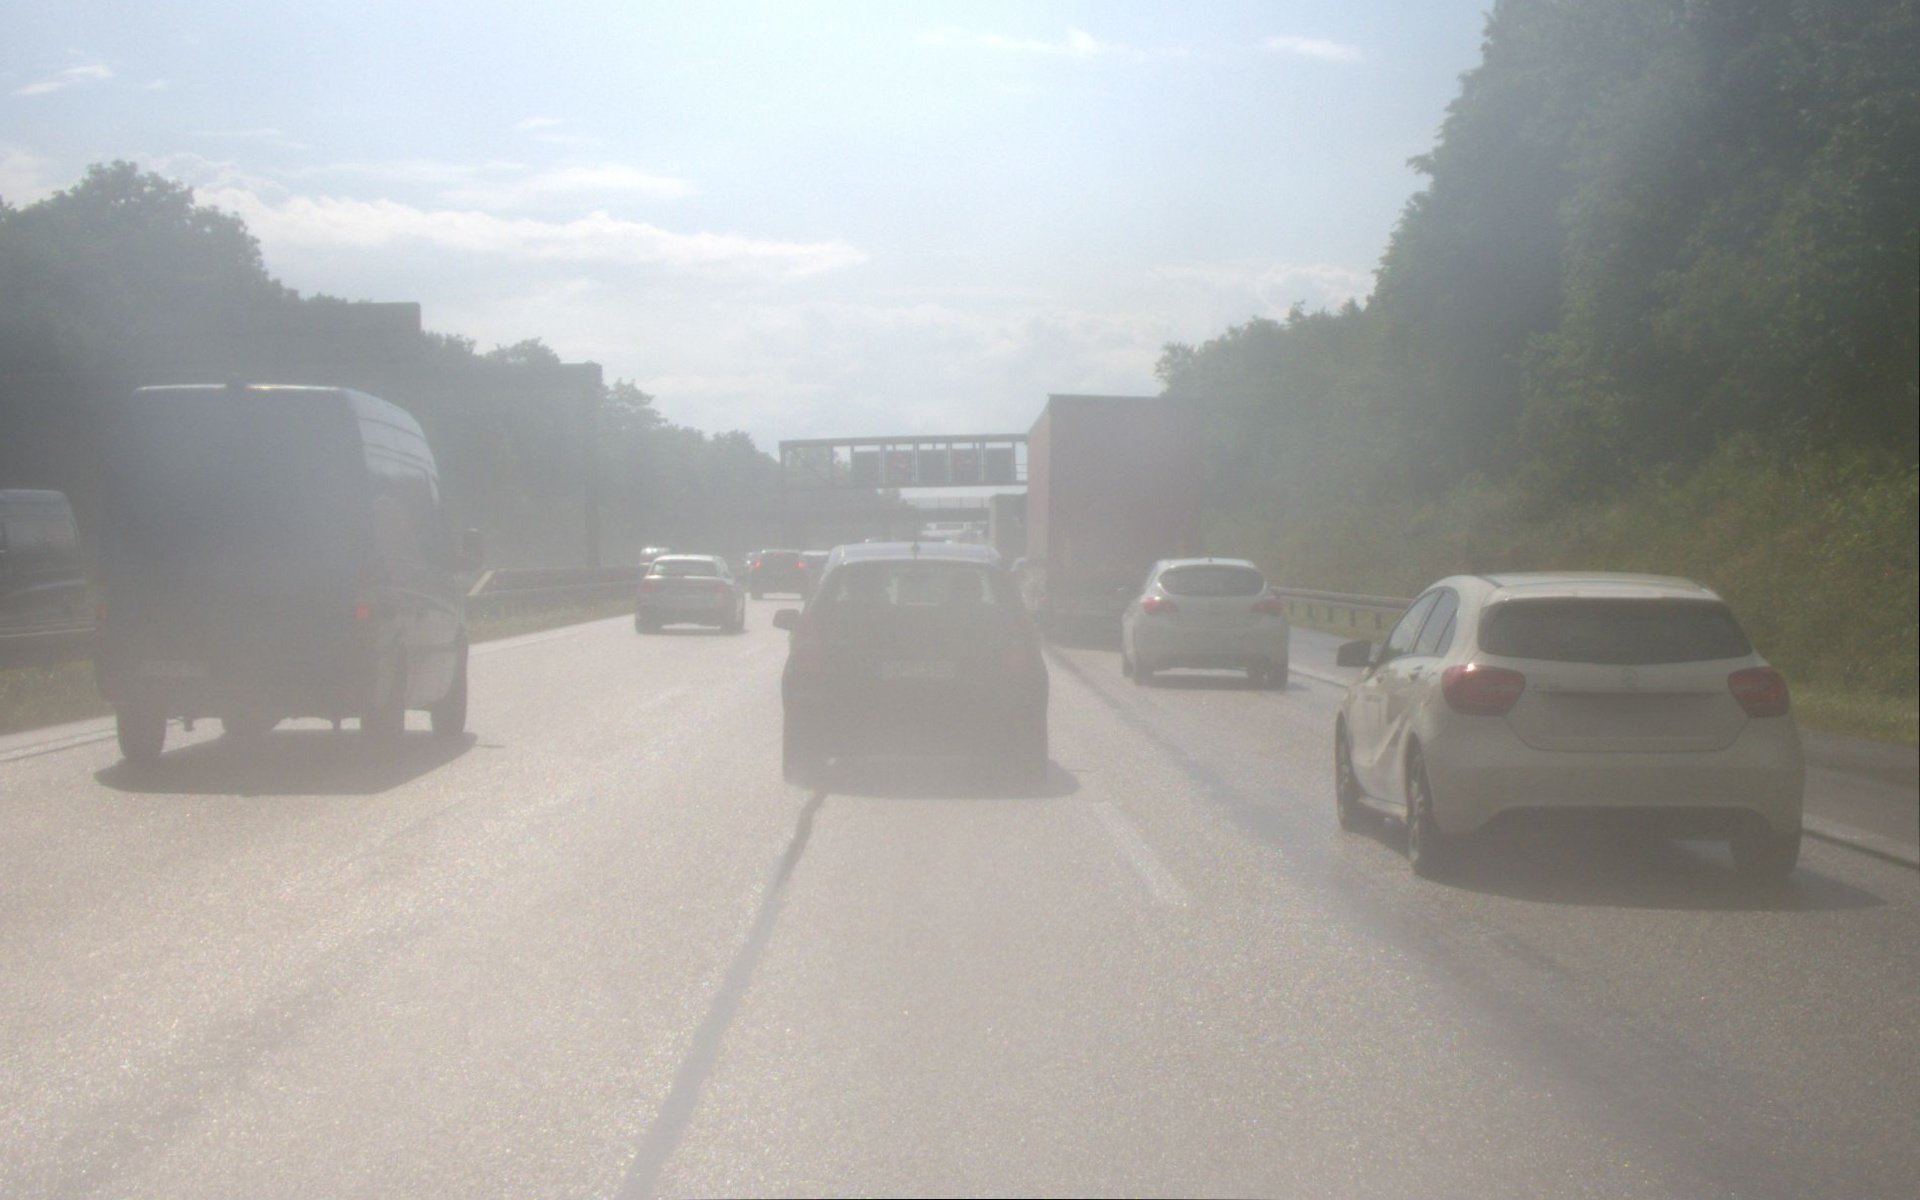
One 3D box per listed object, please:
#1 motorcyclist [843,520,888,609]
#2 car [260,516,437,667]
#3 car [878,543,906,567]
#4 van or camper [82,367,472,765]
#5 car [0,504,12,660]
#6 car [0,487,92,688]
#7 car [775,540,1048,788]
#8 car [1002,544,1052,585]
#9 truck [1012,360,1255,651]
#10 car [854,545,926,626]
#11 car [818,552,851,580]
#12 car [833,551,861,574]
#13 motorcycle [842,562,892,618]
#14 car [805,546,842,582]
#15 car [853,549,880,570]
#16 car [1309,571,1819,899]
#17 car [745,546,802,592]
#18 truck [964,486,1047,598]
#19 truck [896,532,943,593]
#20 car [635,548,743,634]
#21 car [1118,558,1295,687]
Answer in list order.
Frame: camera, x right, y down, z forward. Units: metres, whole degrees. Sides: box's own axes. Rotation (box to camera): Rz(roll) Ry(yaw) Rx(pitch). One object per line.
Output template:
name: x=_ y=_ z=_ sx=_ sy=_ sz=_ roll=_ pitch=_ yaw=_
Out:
motorcyclist: x=-1.740 y=-0.655 z=63.224 sx=0.801 sy=1.627 sz=1.013 roll=1 pitch=1 yaw=-2
car: x=-10.462 y=-0.166 z=59.228 sx=2.183 sy=2.444 sz=5.748 roll=1 pitch=1 yaw=-2
car: x=-4.971 y=-3.282 z=250.457 sx=1.993 sy=1.722 sz=4.000 roll=0 pitch=1 yaw=-1
van or camper: x=-4.993 y=-0.259 z=25.911 sx=1.993 sy=2.659 sz=5.385 roll=1 pitch=1 yaw=-2
car: x=-18.753 y=-0.312 z=60.647 sx=2.262 sy=2.860 sz=6.789 roll=1 pitch=1 yaw=-1
car: x=-14.791 y=-0.210 z=50.749 sx=2.262 sy=2.860 sz=6.890 roll=1 pitch=1 yaw=-1
car: x=-0.366 y=0.387 z=23.639 sx=1.717 sy=1.562 sz=3.485 roll=1 pitch=1 yaw=-2
car: x=2.307 y=-1.230 z=119.059 sx=1.552 sy=1.378 sz=3.210 roll=1 pitch=1 yaw=-2
truck: x=2.969 y=-1.644 z=64.719 sx=3.650 sy=4.704 sz=16.779 roll=1 pitch=1 yaw=0
car: x=-1.564 y=-0.337 z=76.231 sx=1.531 sy=1.740 sz=3.485 roll=1 pitch=1 yaw=-2
car: x=-5.972 y=-1.624 z=163.370 sx=1.549 sy=1.262 sz=3.485 roll=1 pitch=1 yaw=-2
car: x=-6.396 y=-2.133 z=194.552 sx=1.549 sy=1.262 sz=3.485 roll=1 pitch=1 yaw=-2
motorcycle: x=-1.721 y=-0.192 z=63.274 sx=0.890 sy=0.997 sz=2.896 roll=1 pitch=1 yaw=-2
car: x=-5.490 y=-1.451 z=138.745 sx=1.460 sy=1.389 sz=3.312 roll=1 pitch=1 yaw=-2
car: x=-5.713 y=-2.499 z=210.062 sx=1.549 sy=1.262 sz=3.485 roll=1 pitch=1 yaw=-2
car: x=2.899 y=0.583 z=17.391 sx=1.692 sy=1.420 sz=4.220 roll=1 pitch=1 yaw=-2
car: x=-6.055 y=-1.030 z=112.061 sx=1.751 sy=1.452 sz=3.390 roll=1 pitch=1 yaw=-2
truck: x=1.852 y=-2.425 z=145.136 sx=3.256 sy=4.464 sz=12.421 roll=1 pitch=1 yaw=0
truck: x=-1.989 y=-1.834 z=167.211 sx=2.192 sy=2.865 sz=4.850 roll=1 pitch=1 yaw=-2
car: x=-5.086 y=-0.190 z=64.881 sx=1.854 sy=1.546 sz=3.485 roll=1 pitch=1 yaw=-2
car: x=2.885 y=0.230 z=40.883 sx=1.680 sy=1.437 sz=3.905 roll=1 pitch=1 yaw=-2
